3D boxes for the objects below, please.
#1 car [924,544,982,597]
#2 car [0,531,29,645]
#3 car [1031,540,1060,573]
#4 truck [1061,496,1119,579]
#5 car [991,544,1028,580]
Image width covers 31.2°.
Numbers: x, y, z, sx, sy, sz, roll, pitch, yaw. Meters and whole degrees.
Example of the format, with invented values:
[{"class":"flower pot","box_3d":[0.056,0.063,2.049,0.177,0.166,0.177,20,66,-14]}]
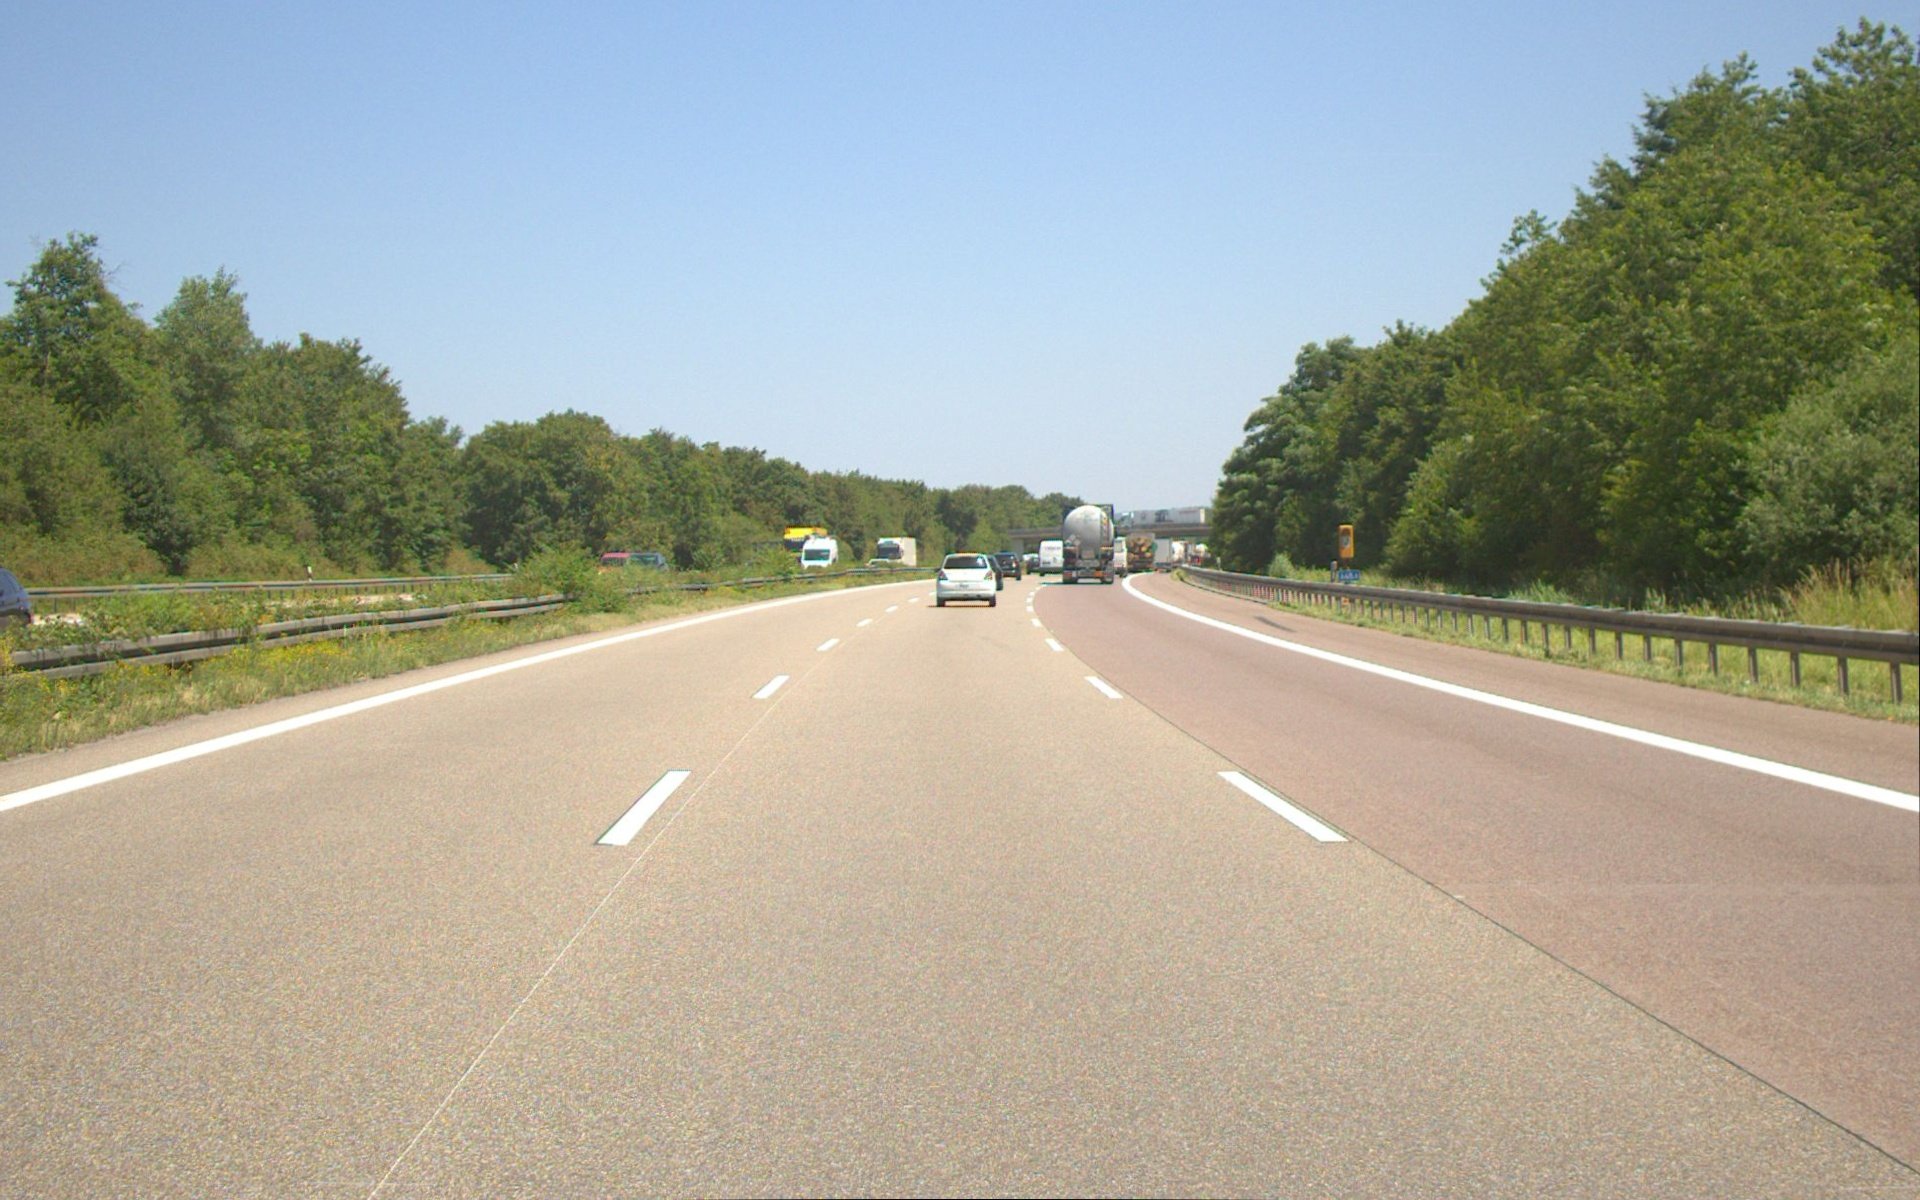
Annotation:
[{"class":"car","box_3d":[-0.212,-0.850,98.700,1.627,1.474,4.000,0,0,-1]},{"class":"car","box_3d":[-16.853,-0.186,56.546,1.826,1.899,4.957,0,1,-1]},{"class":"car","box_3d":[6.172,-3.160,247.017,1.994,2.335,4.386,0,1,3]},{"class":"truck","box_3d":[6.609,-3.111,174.101,2.739,4.038,10.453,0,0,3]},{"class":"car","box_3d":[2.913,-2.232,201.618,1.994,2.007,4.000,-1,1,3]}]
